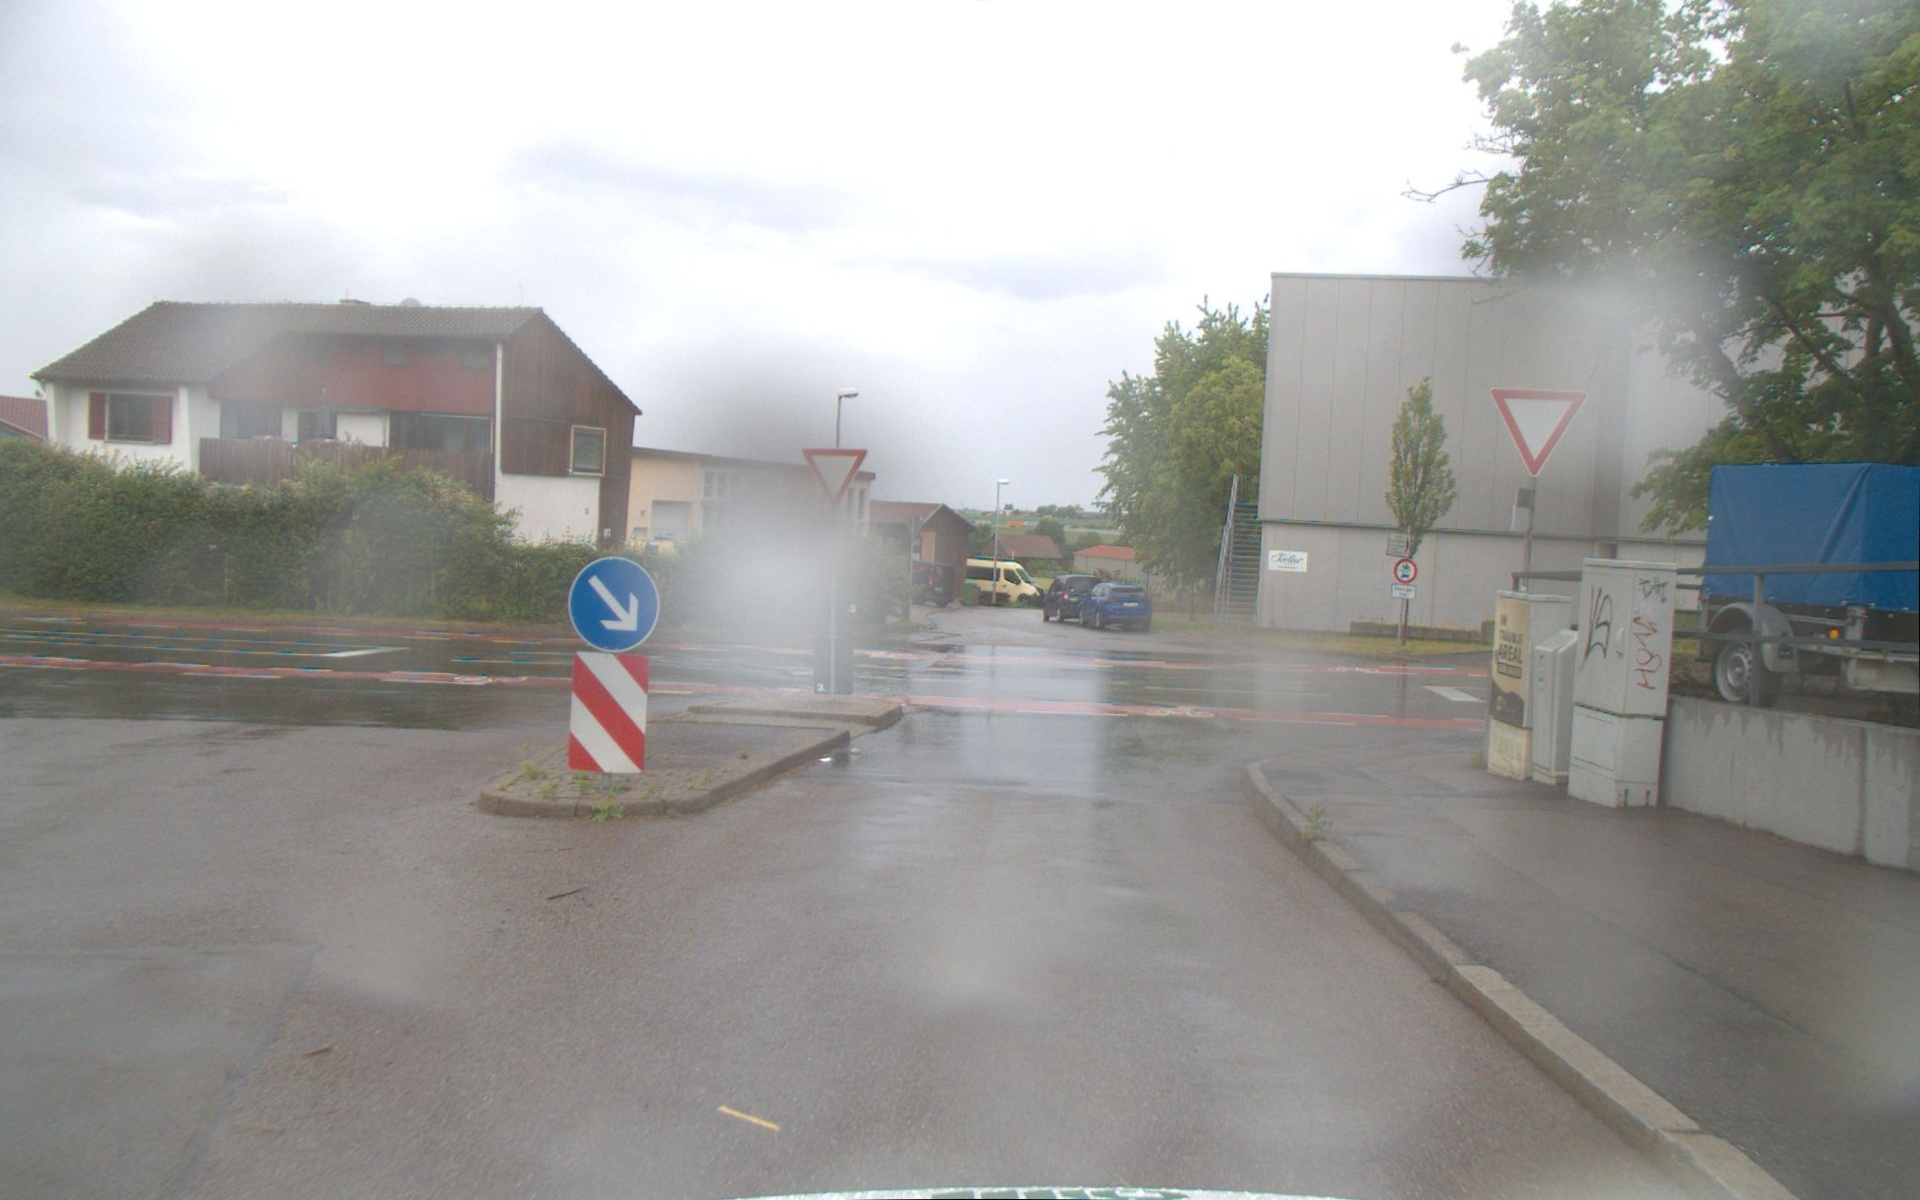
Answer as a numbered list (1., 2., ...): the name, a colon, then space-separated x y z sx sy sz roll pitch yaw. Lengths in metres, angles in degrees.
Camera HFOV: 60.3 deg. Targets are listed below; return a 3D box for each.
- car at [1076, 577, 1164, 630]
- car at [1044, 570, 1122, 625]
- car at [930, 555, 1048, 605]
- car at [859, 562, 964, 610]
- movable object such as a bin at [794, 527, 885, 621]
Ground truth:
1. car: 5.230 0.087 54.534 1.915 1.638 4.440 2 0 -7
2. car: 4.452 -0.105 60.665 2.034 1.867 4.465 2 0 -6
3. car: 1.566 -1.069 89.789 5.884 2.457 2.464 2 0 19
4. car: -2.134 -0.637 72.060 4.330 1.938 1.989 2 0 41
5. movable object such as a bin: -3.507 -0.740 48.701 1.696 2.601 3.342 2 0 12
